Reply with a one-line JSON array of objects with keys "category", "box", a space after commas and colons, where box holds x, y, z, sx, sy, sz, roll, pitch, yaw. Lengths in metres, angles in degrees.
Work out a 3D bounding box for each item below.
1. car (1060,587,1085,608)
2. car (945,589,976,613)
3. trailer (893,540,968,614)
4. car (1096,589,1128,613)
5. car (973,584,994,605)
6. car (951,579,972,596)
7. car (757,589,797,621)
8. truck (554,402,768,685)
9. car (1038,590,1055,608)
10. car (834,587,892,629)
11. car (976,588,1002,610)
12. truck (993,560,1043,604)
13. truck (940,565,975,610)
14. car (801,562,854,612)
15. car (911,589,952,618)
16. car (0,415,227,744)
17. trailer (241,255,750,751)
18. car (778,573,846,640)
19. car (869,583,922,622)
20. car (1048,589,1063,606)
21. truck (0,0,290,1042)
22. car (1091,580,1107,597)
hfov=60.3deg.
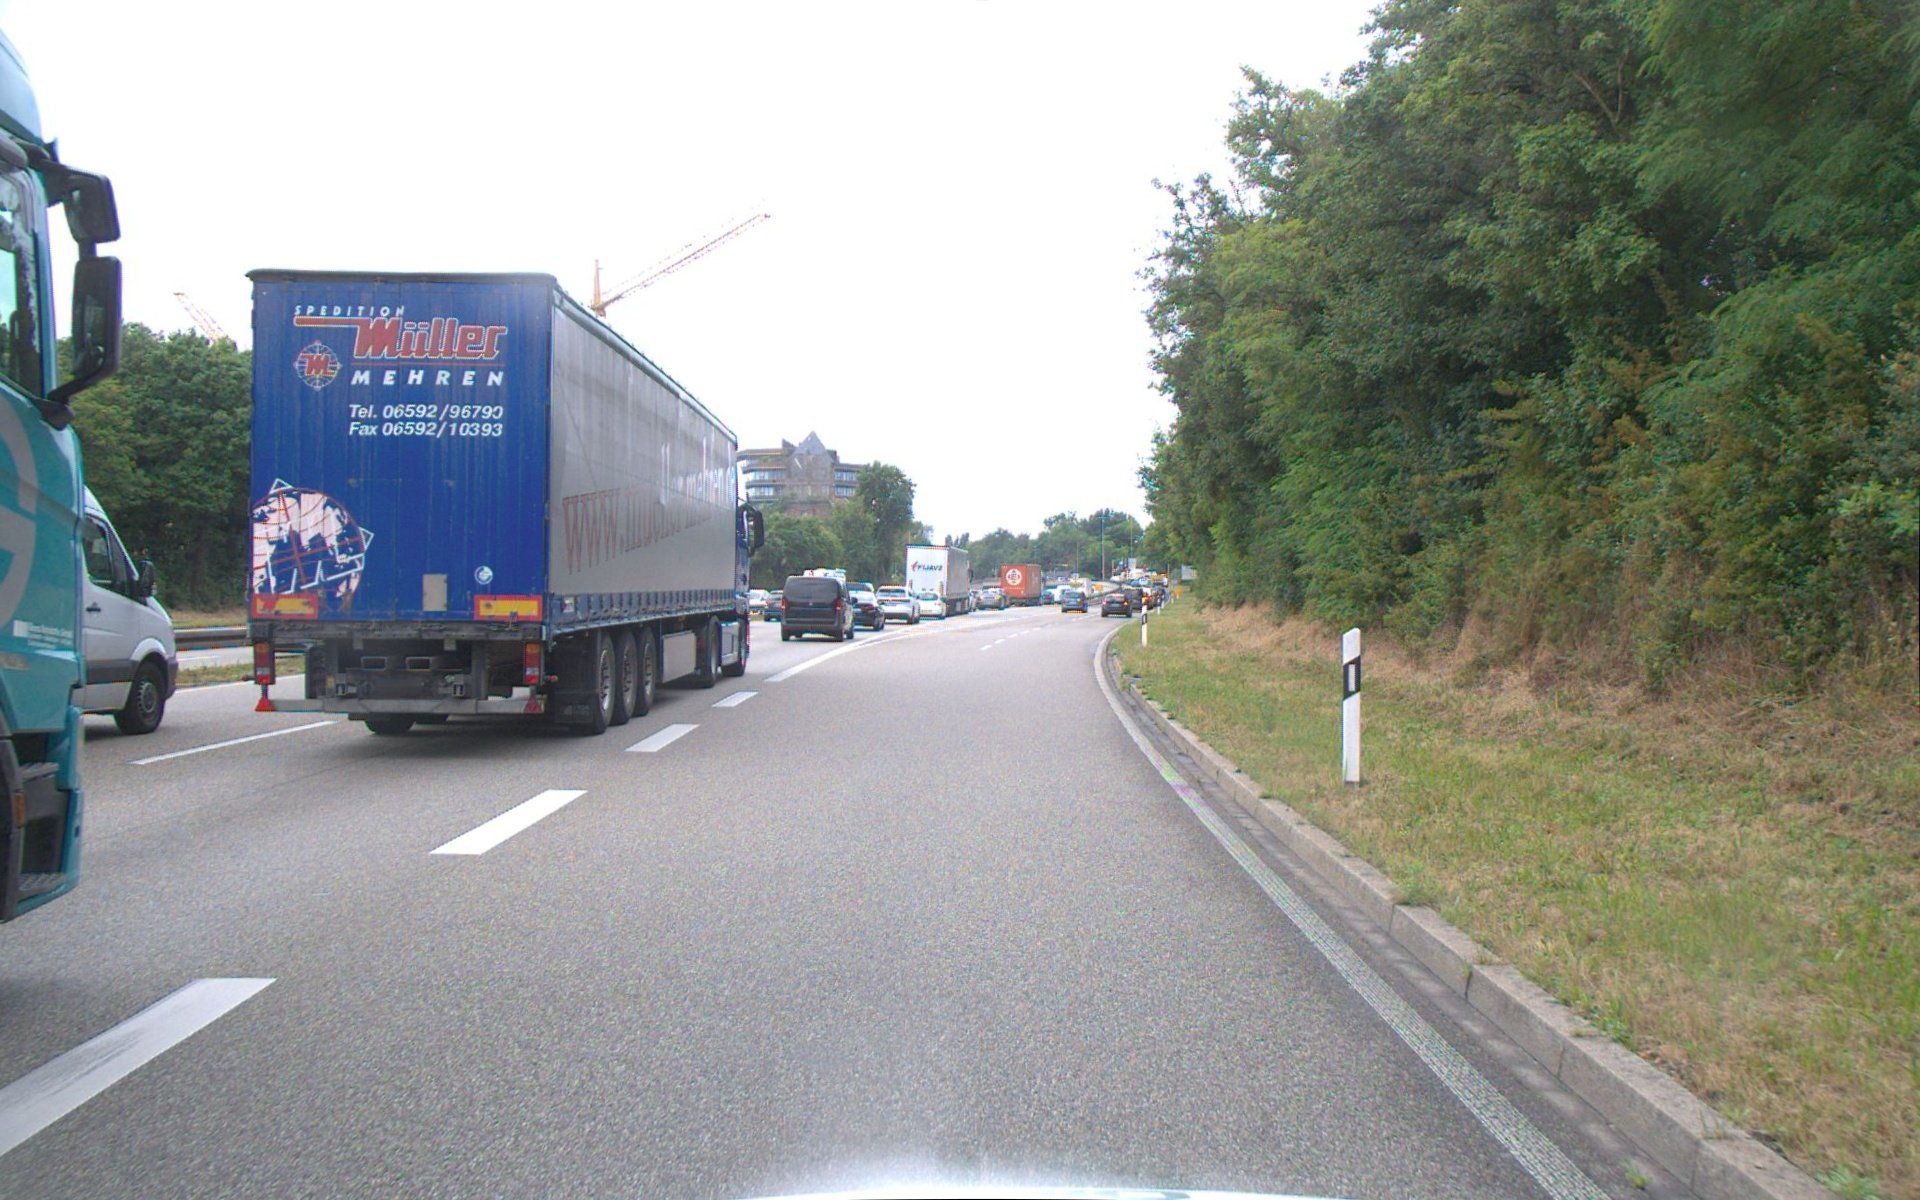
[{"category": "car", "box": [8.379, -0.172, 122.956, 1.786, 1.508, 4.002, 0, 0, 4]}, {"category": "car", "box": [0.026, 0.097, 120.216, 1.762, 1.632, 4.260, 1, 0, 6]}, {"category": "trailer", "box": [-1.616, -1.264, 100.290, 3.229, 4.107, 13.104, 1, 0, 4]}, {"category": "car", "box": [9.687, 0.055, 105.285, 1.786, 1.508, 4.003, 0, 0, 9]}, {"category": "car", "box": [2.295, -0.529, 163.244, 1.779, 2.049, 4.002, 0, 0, 5]}, {"category": "car", "box": [0.173, -1.555, 200.122, 1.951, 2.049, 4.003, 0, 0, 8]}, {"category": "car", "box": [-8.401, 0.245, 76.263, 1.411, 1.411, 3.048, 1, 0, 1]}, {"category": "truck", "box": [-4.791, -0.818, 27.704, 2.509, 4.113, 6.586, 1, 0, -2]}, {"category": "car", "box": [9.826, -0.135, 187.883, 1.580, 1.982, 3.708, 1, 0, 8]}, {"category": "car", "box": [-3.657, 0.314, 63.207, 1.809, 1.485, 4.832, 1, 0, 1]}, {"category": "car", "box": [2.309, -0.079, 130.330, 1.681, 1.713, 4.003, 1, 0, 6]}, {"category": "truck", "box": [5.866, -1.755, 163.925, 3.415, 4.144, 13.603, 0, 0, 9]}, {"category": "truck", "box": [-0.168, -1.174, 164.580, 2.681, 4.211, 10.702, 1, 0, 4]}, {"category": "car", "box": [-7.061, -0.671, 88.477, 1.951, 2.598, 5.365, 0, 0, 5]}, {"category": "car", "box": [-1.484, 0.194, 87.979, 1.727, 1.504, 4.092, 0, 0, 5]}, {"category": "car", "box": [-8.751, -0.179, 13.912, 2.177, 2.623, 6.796, 1, 0, -1]}, {"category": "trailer", "box": [-4.732, -0.786, 20.567, 2.573, 4.093, 13.461, 1, 0, -1]}, {"category": "car", "box": [-4.469, 0.195, 50.293, 1.949, 1.931, 4.980, 1, 0, -5]}, {"category": "car", "box": [-2.949, 0.122, 76.410, 1.915, 1.724, 4.868, 1, 0, 4]}, {"category": "car", "box": [11.494, -0.311, 198.754, 1.580, 1.982, 3.708, 1, 0, 7]}, {"category": "truck", "box": [-4.250, -0.531, 1.937, 2.871, 3.863, 11.323, 0, 0, -3]}, {"category": "car", "box": [16.634, -1.399, 198.305, 1.910, 2.049, 4.003, 0, 0, 5]}]
